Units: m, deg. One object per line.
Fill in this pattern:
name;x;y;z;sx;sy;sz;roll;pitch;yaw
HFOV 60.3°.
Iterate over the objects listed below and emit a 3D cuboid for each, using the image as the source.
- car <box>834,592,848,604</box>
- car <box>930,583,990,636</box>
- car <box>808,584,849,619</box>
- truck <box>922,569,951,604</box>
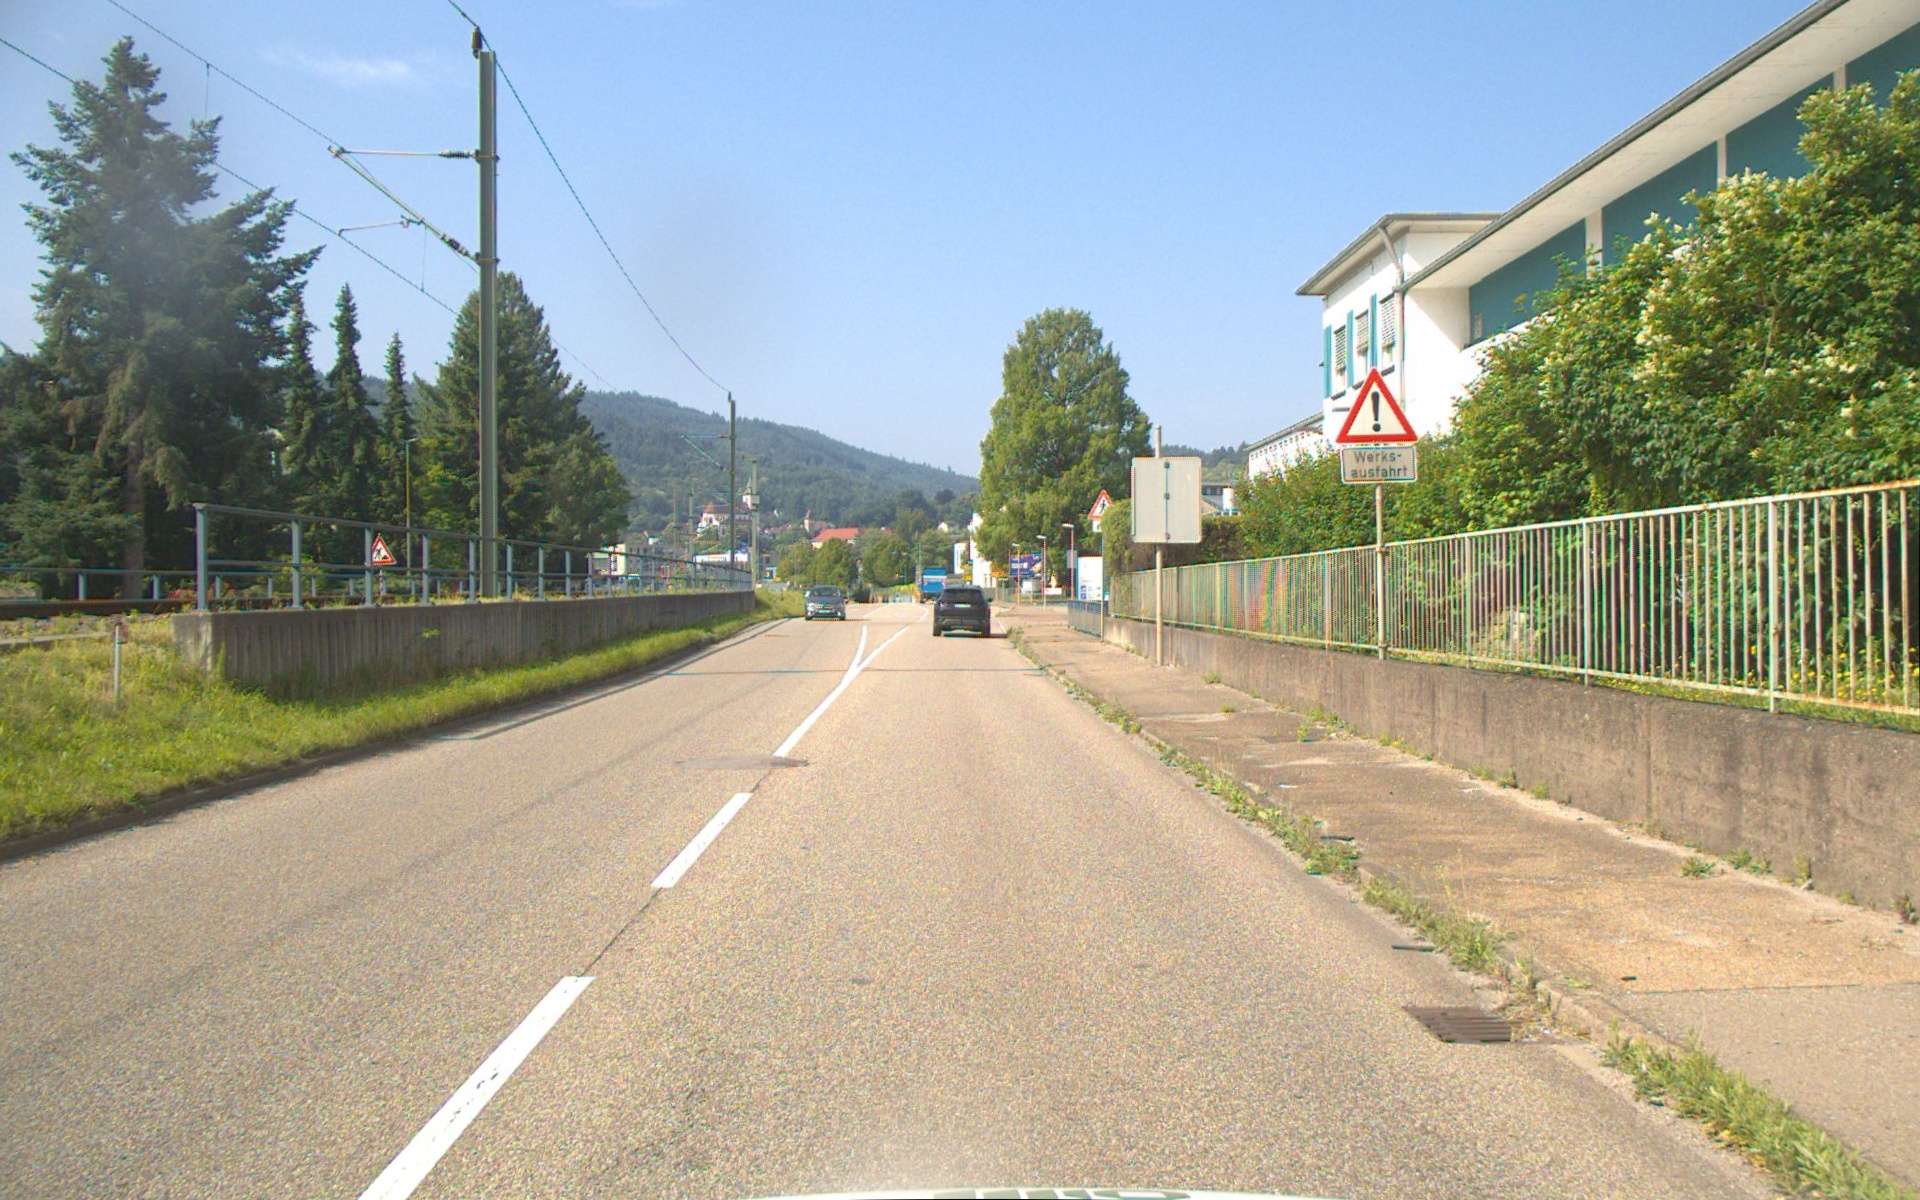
car;-14.886;-0.238;206.719;1.720;1.454;3.997;0;0;-4
car;0.035;0.292;54.058;1.880;1.668;4.000;0;0;1
car;-5.919;0.052;74.981;1.707;1.533;4.197;0;0;-3
truck;-2.129;-1.234;146.954;2.267;3.022;5.961;0;1;-4
